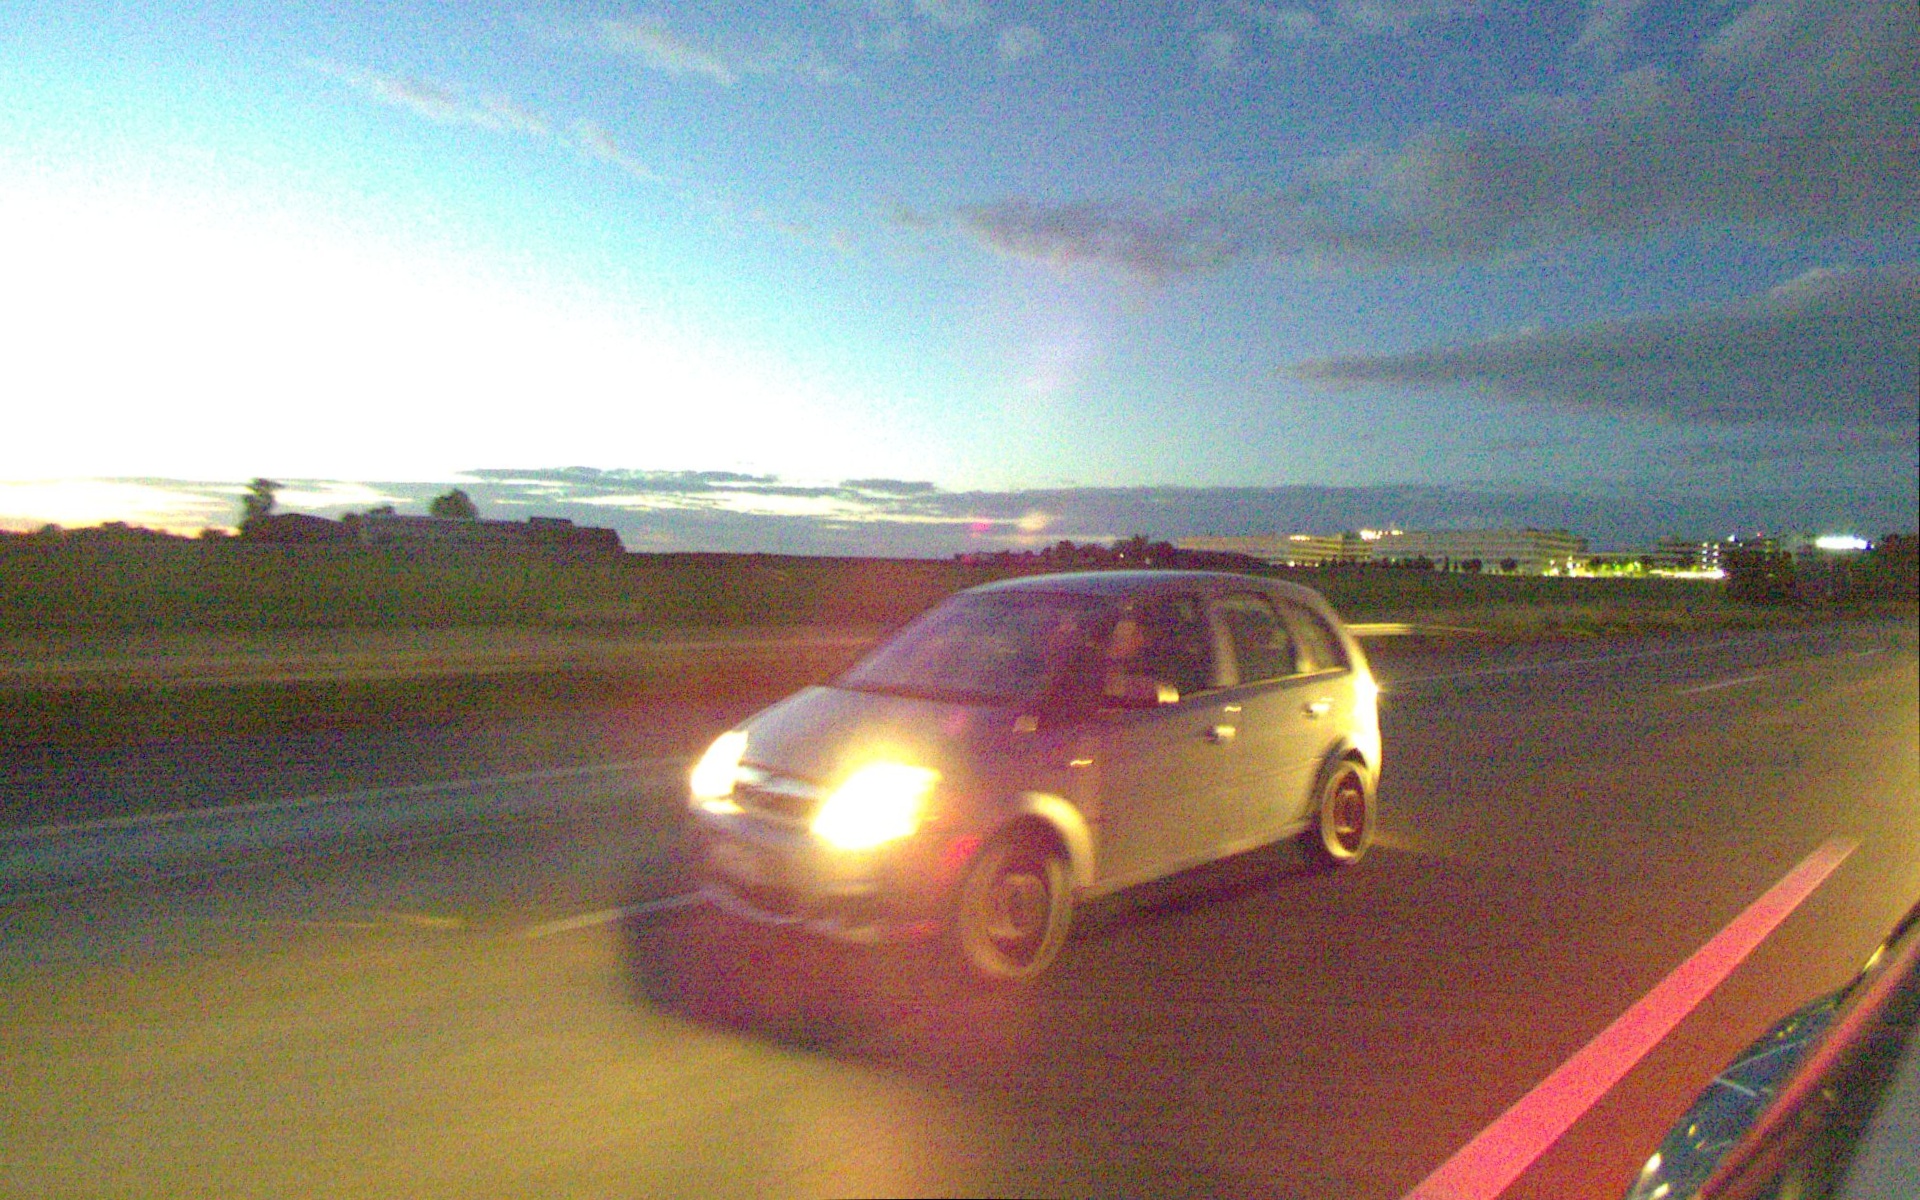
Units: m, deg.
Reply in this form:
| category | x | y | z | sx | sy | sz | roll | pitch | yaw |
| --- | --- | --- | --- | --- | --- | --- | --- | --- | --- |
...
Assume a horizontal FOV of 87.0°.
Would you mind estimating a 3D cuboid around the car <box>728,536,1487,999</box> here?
| category | x | y | z | sx | sy | sz | roll | pitch | yaw |
| --- | --- | --- | --- | --- | --- | --- | --- | --- | --- |
| car | 1.116 | 0.562 | 5.606 | 4.430 | 1.616 | 1.649 | 0 | 1 | -41 |
